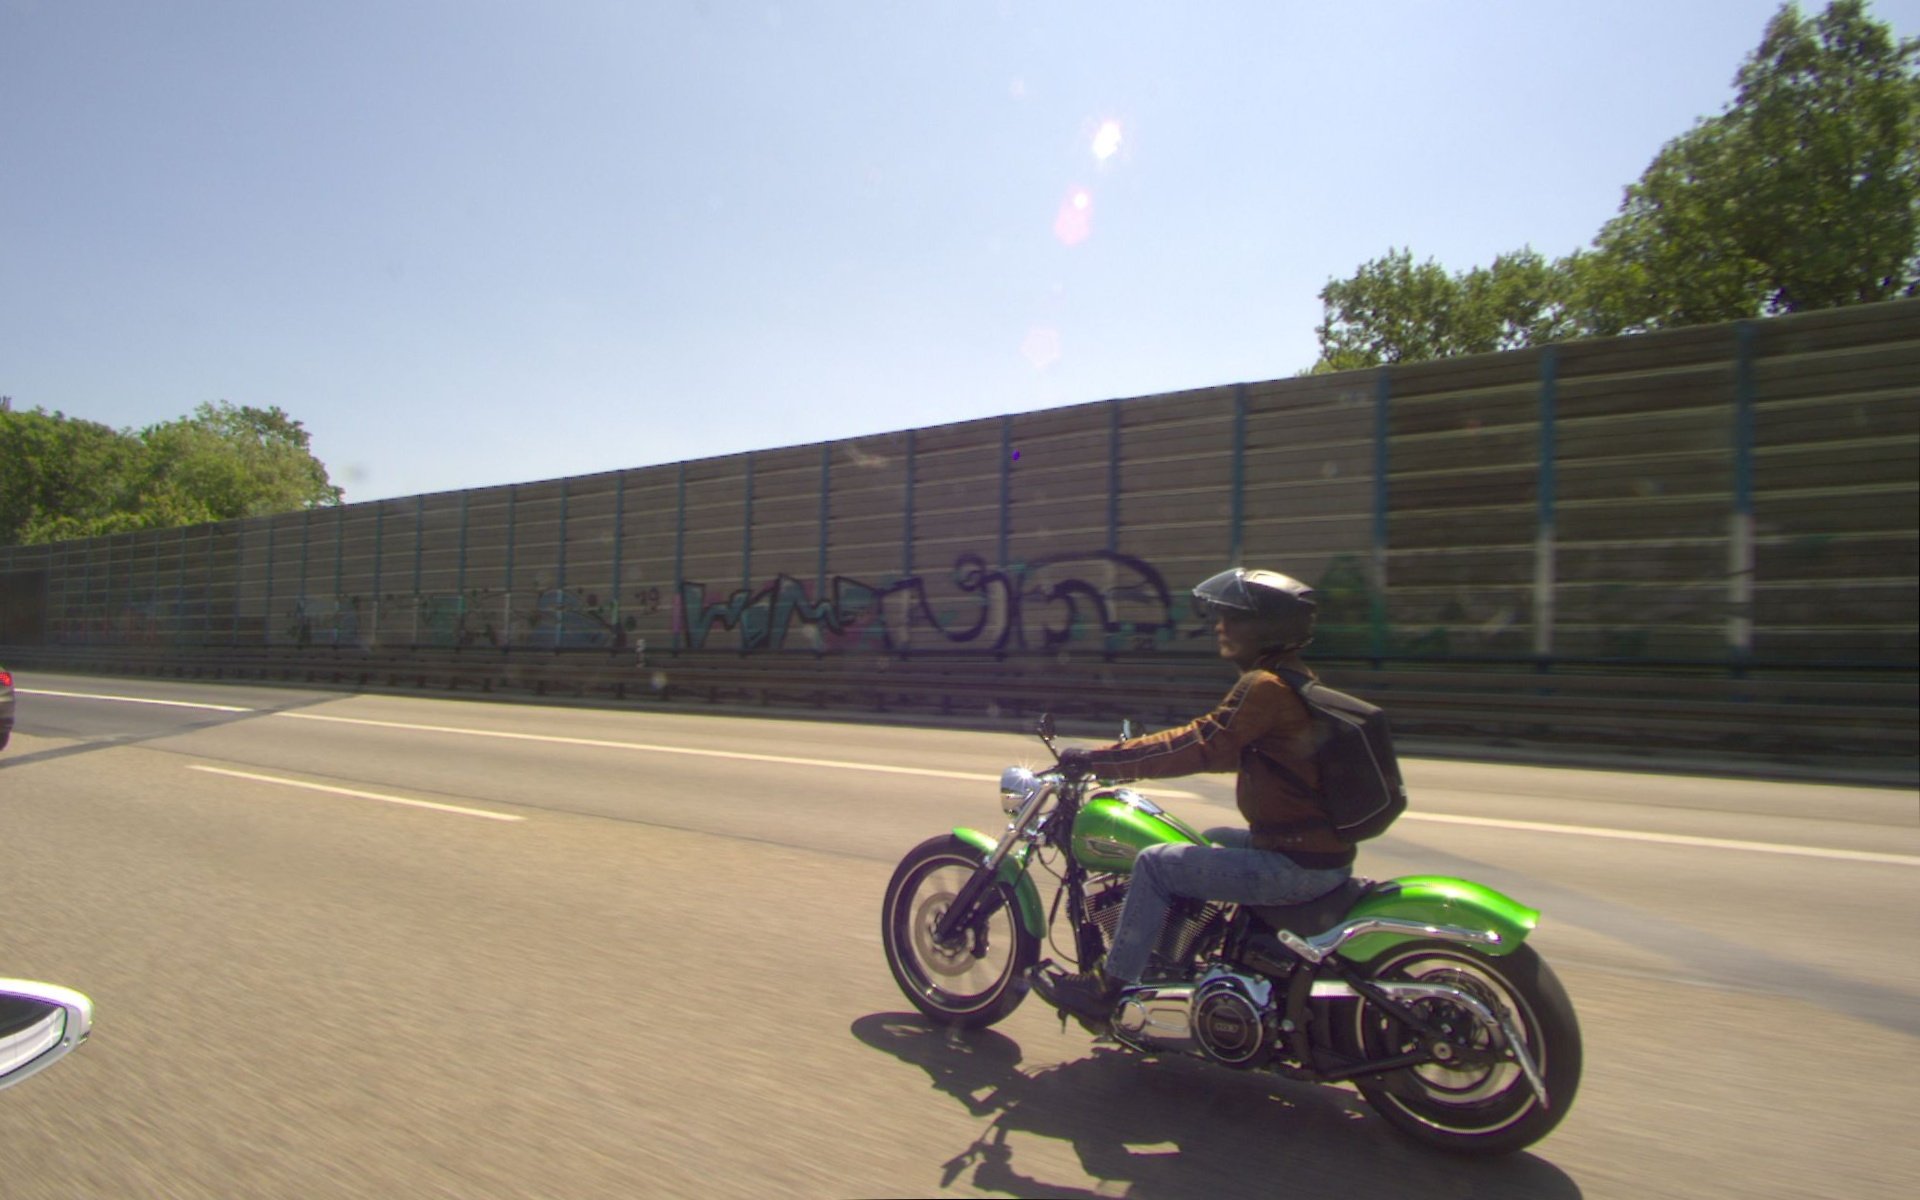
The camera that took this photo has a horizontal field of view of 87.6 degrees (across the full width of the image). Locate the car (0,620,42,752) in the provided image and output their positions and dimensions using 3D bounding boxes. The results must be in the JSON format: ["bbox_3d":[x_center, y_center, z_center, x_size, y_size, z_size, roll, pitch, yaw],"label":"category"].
[{"bbox_3d":[-13.272,0.989,12.312,4.338,1.532,1.835,0,-2,32],"label":"car"}]

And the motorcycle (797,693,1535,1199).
[{"bbox_3d":[0.585,0.981,3.321,2.245,1.197,0.858,0,-1,34],"label":"motorcycle"}]

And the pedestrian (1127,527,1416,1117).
[{"bbox_3d":[0.985,0.577,3.080,0.629,1.498,0.850,0,-1,34],"label":"pedestrian"}]
